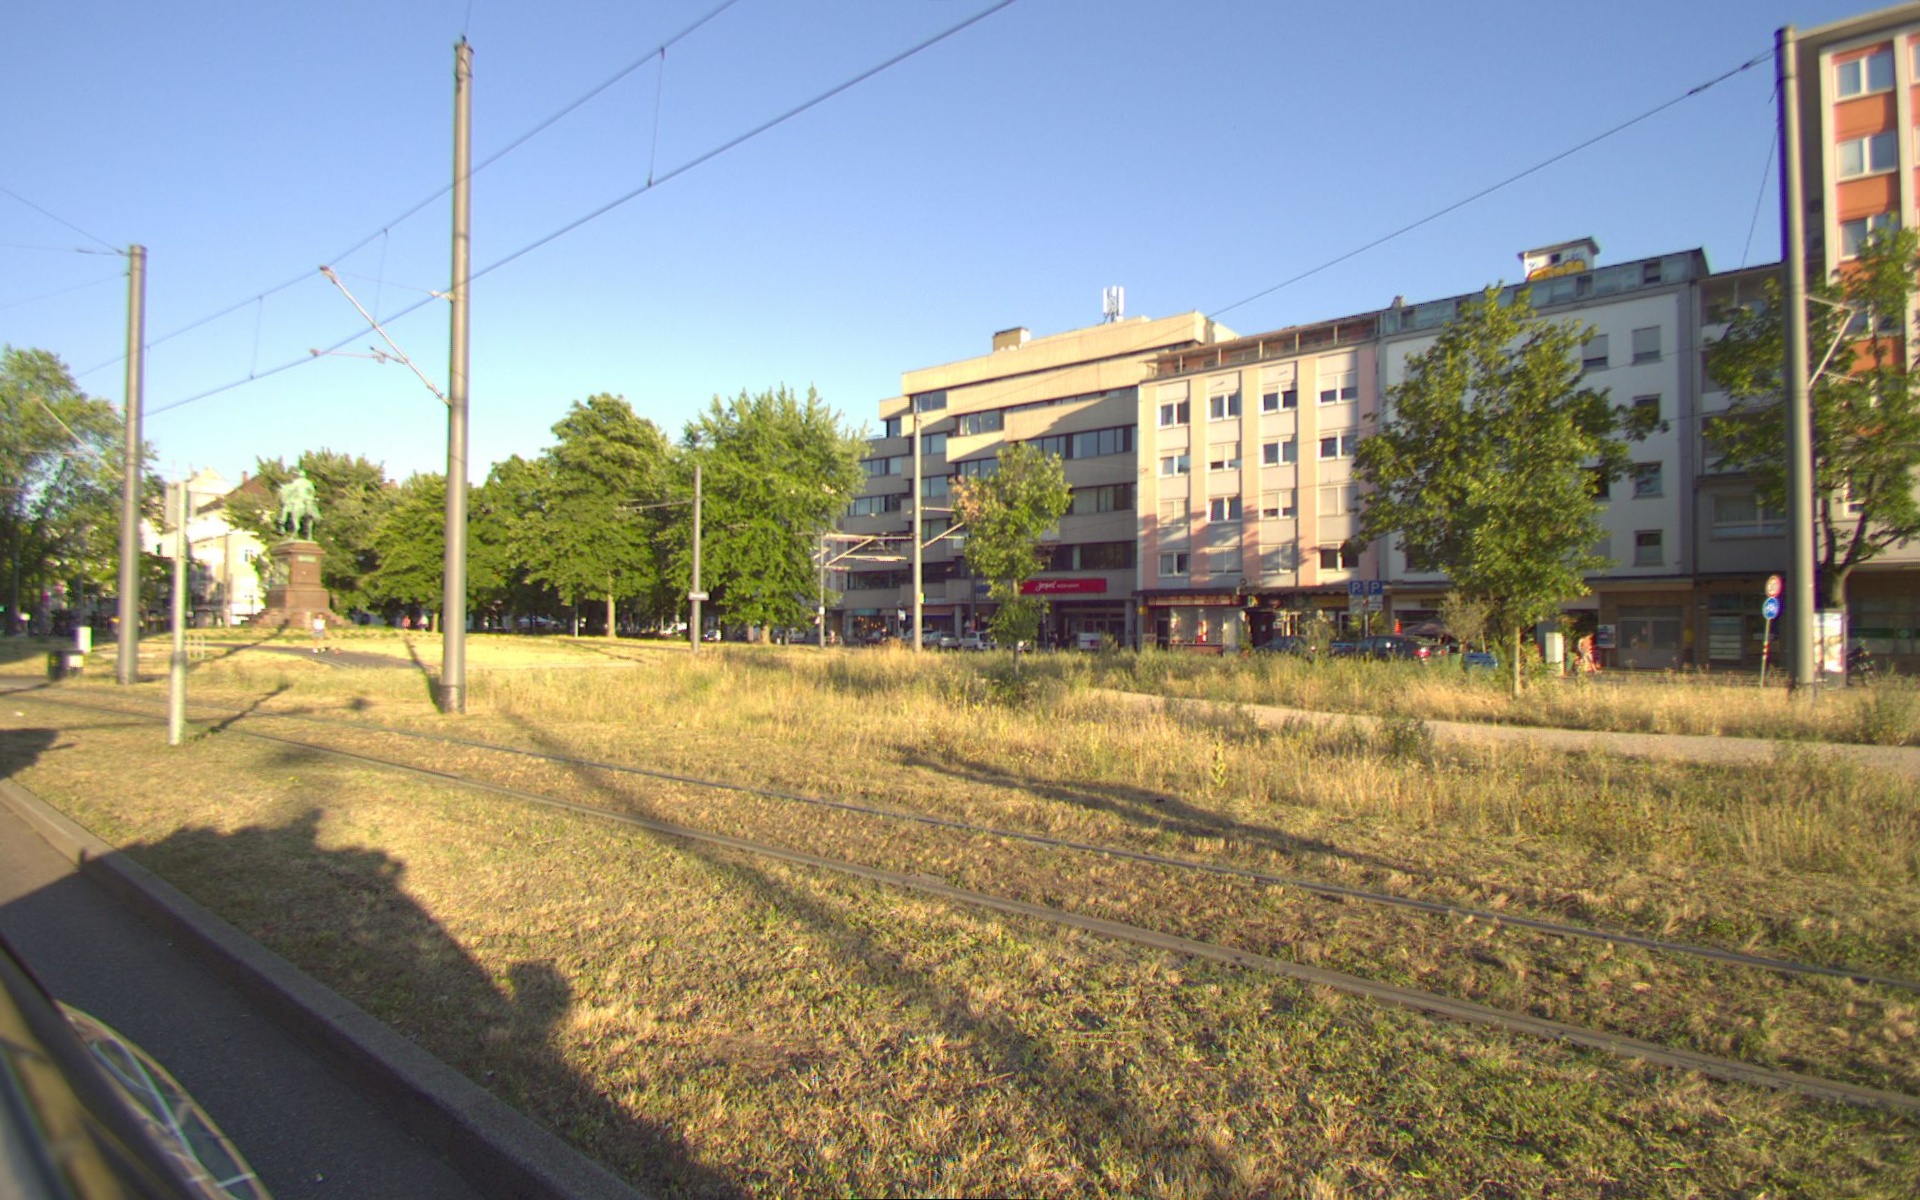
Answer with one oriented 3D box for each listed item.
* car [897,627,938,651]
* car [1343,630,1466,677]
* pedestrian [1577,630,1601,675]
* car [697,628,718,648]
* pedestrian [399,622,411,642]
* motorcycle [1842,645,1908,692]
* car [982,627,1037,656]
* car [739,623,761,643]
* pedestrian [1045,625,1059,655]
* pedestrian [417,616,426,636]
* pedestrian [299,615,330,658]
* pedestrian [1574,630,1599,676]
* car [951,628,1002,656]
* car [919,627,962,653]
[{"bbox_3d":[-3.471,3.129,82.008,1.965,1.951,4.013,1,-2,-25],"label":"car"},{"bbox_3d":[17.268,2.036,39.512,1.965,1.697,4.012,1,-2,-28],"label":"car"},{"bbox_3d":[25.084,2.083,40.360,0.698,1.764,0.642,-2,-2,41],"label":"pedestrian"},{"bbox_3d":[-27.780,4.131,111.473,1.966,2.029,4.012,-1,0,-18],"label":"car"},{"bbox_3d":[-46.975,2.678,85.635,0.635,1.682,0.702,-1,-2,41],"label":"pedestrian"},{"bbox_3d":[26.589,1.978,29.413,1.390,1.328,0.376,-2,-2,43],"label":"motorcycle"},{"bbox_3d":[3.214,2.711,66.884,1.892,1.878,4.013,1,-2,-27],"label":"car"},{"bbox_3d":[-23.493,3.664,113.027,1.966,2.029,4.012,-1,0,-18],"label":"car"},{"bbox_3d":[6.076,2.618,66.929,0.700,1.949,0.683,-2,-2,41],"label":"pedestrian"},{"bbox_3d":[-45.823,2.224,86.059,0.512,1.707,0.528,-1,-2,41],"label":"pedestrian"},{"bbox_3d":[-27.021,1.524,42.373,0.797,1.741,0.880,-2,-2,41],"label":"pedestrian"},{"bbox_3d":[24.671,2.068,39.852,0.704,1.806,0.587,-2,-2,41],"label":"pedestrian"},{"bbox_3d":[1.149,2.936,71.429,1.965,1.893,4.013,1,-2,-27],"label":"car"},{"bbox_3d":[-1.525,3.008,77.057,1.965,1.893,4.013,1,-2,-23],"label":"car"}]
